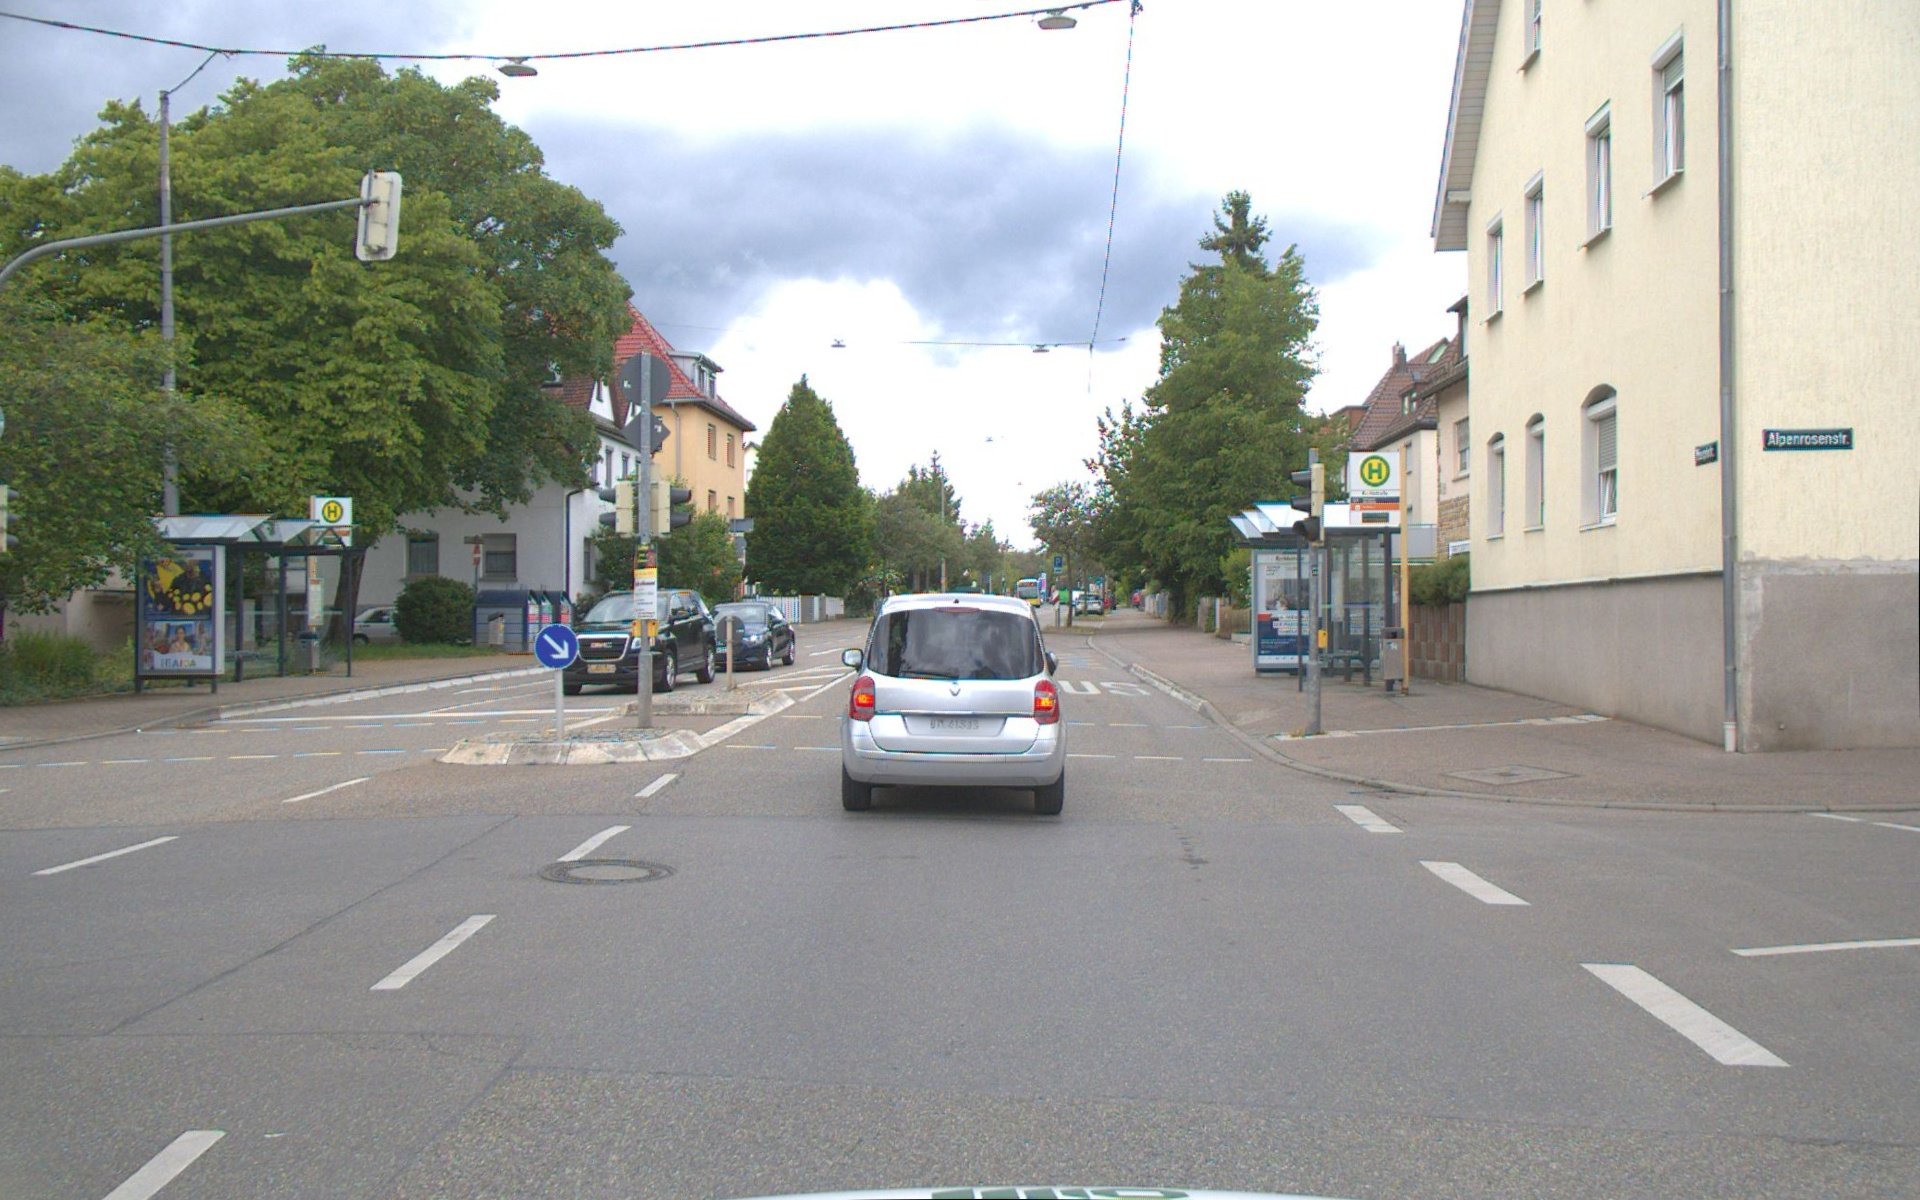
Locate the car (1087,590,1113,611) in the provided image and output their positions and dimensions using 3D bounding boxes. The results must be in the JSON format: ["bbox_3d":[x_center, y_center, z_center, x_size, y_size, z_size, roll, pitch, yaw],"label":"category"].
[{"bbox_3d":[10.039,0.022,118.439,1.627,1.417,3.670,0,0,7],"label":"car"}]

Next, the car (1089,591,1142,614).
[{"bbox_3d":[12.379,0.196,131.542,3.908,1.522,1.809,-4,0,-3],"label":"car"}]

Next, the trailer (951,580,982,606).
[{"bbox_3d":[0.591,-0.575,140.301,2.263,2.123,5.875,1,-1,4],"label":"trailer"}]

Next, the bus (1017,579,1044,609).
[{"bbox_3d":[8.076,-0.664,188.018,2.577,3.140,12.076,-2,0,4],"label":"bus"}]

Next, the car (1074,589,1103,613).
[{"bbox_3d":[7.765,0.067,99.647,1.615,1.407,4.002,0,-1,6],"label":"car"}]

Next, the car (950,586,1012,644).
[{"bbox_3d":[0.625,0.460,51.281,1.792,1.705,3.573,-1,0,-1],"label":"car"}]

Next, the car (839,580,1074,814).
[{"bbox_3d":[-0.094,0.695,13.385,1.597,1.584,3.998,1,-1,-2],"label":"car"}]

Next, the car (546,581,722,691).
[{"bbox_3d":[-5.465,0.607,28.297,1.721,1.663,4.597,-2,-1,4],"label":"car"}]

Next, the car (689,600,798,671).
[{"bbox_3d":[-4.629,0.761,35.839,1.531,1.445,4.132,-1,-1,4],"label":"car"}]

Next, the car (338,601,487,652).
[{"bbox_3d":[-16.696,0.821,50.554,3.904,1.355,1.723,-3,-1,3],"label":"car"}]
